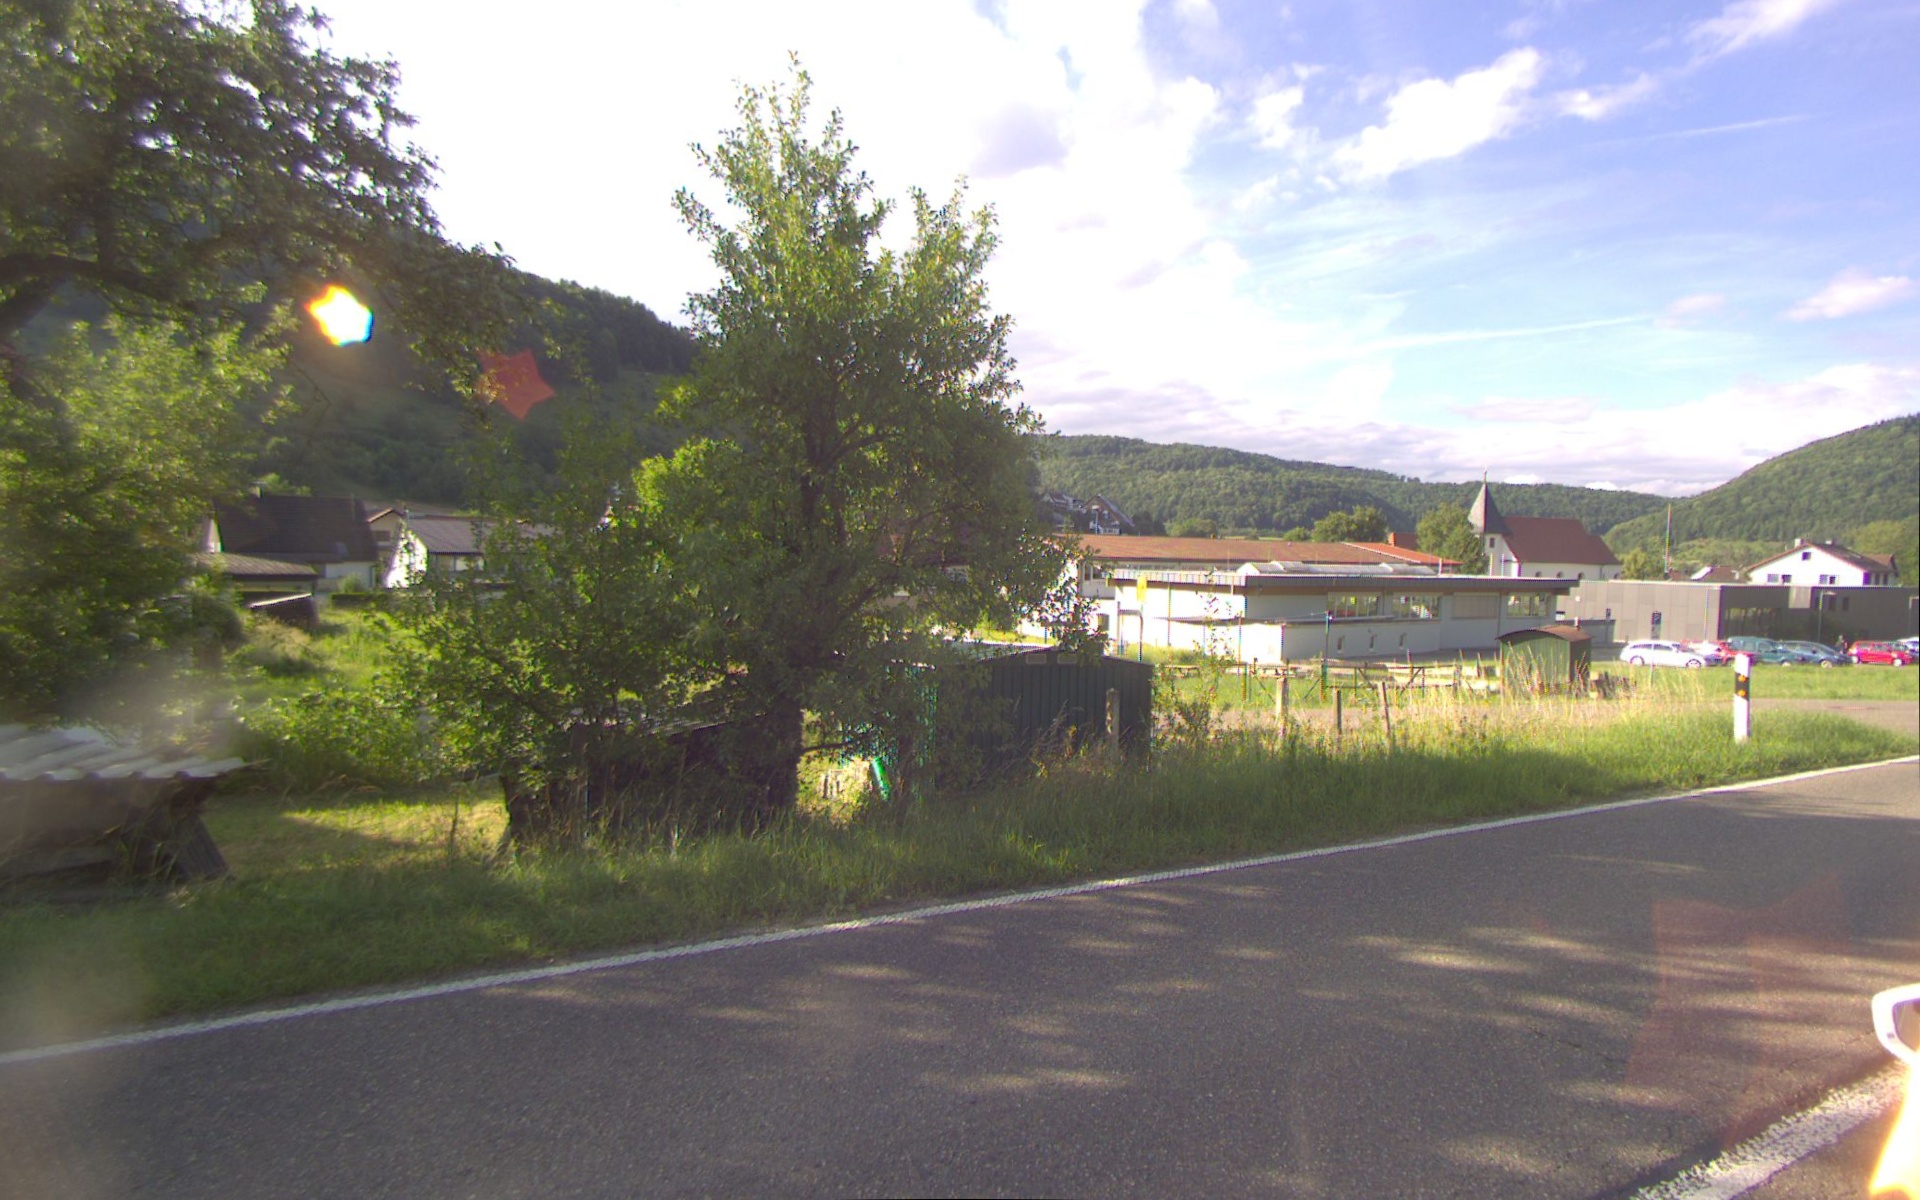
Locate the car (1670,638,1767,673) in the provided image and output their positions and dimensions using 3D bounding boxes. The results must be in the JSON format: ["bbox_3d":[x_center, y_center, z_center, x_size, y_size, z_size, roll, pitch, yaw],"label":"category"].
[{"bbox_3d":[43.039,3.142,57.066,1.978,1.733,3.965,2,0,-32],"label":"car"}]

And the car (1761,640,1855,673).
[{"bbox_3d":[51.767,3.432,61.386,1.978,1.733,3.965,2,0,-32],"label":"car"}]

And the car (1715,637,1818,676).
[{"bbox_3d":[48.034,3.310,59.878,1.978,2.034,4.382,2,0,-32],"label":"car"}]

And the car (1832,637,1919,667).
[{"bbox_3d":[60.888,3.428,66.809,1.978,1.733,3.965,2,0,-32],"label":"car"}]

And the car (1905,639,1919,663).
[{"bbox_3d":[70.895,3.763,72.219,1.978,1.733,3.965,2,0,-32],"label":"car"}]

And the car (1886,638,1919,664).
[{"bbox_3d":[68.065,3.668,70.634,1.978,1.733,3.965,2,0,-32],"label":"car"}]

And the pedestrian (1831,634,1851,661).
[{"bbox_3d":[67.390,3.630,76.840,0.962,2.040,0.821,2,0,-30],"label":"pedestrian"}]

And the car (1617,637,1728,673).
[{"bbox_3d":[40.044,3.048,56.550,1.978,1.733,4.705,2,0,-32],"label":"car"}]

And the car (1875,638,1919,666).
[{"bbox_3d":[65.202,3.568,68.356,1.978,1.733,3.965,2,0,-32],"label":"car"}]
